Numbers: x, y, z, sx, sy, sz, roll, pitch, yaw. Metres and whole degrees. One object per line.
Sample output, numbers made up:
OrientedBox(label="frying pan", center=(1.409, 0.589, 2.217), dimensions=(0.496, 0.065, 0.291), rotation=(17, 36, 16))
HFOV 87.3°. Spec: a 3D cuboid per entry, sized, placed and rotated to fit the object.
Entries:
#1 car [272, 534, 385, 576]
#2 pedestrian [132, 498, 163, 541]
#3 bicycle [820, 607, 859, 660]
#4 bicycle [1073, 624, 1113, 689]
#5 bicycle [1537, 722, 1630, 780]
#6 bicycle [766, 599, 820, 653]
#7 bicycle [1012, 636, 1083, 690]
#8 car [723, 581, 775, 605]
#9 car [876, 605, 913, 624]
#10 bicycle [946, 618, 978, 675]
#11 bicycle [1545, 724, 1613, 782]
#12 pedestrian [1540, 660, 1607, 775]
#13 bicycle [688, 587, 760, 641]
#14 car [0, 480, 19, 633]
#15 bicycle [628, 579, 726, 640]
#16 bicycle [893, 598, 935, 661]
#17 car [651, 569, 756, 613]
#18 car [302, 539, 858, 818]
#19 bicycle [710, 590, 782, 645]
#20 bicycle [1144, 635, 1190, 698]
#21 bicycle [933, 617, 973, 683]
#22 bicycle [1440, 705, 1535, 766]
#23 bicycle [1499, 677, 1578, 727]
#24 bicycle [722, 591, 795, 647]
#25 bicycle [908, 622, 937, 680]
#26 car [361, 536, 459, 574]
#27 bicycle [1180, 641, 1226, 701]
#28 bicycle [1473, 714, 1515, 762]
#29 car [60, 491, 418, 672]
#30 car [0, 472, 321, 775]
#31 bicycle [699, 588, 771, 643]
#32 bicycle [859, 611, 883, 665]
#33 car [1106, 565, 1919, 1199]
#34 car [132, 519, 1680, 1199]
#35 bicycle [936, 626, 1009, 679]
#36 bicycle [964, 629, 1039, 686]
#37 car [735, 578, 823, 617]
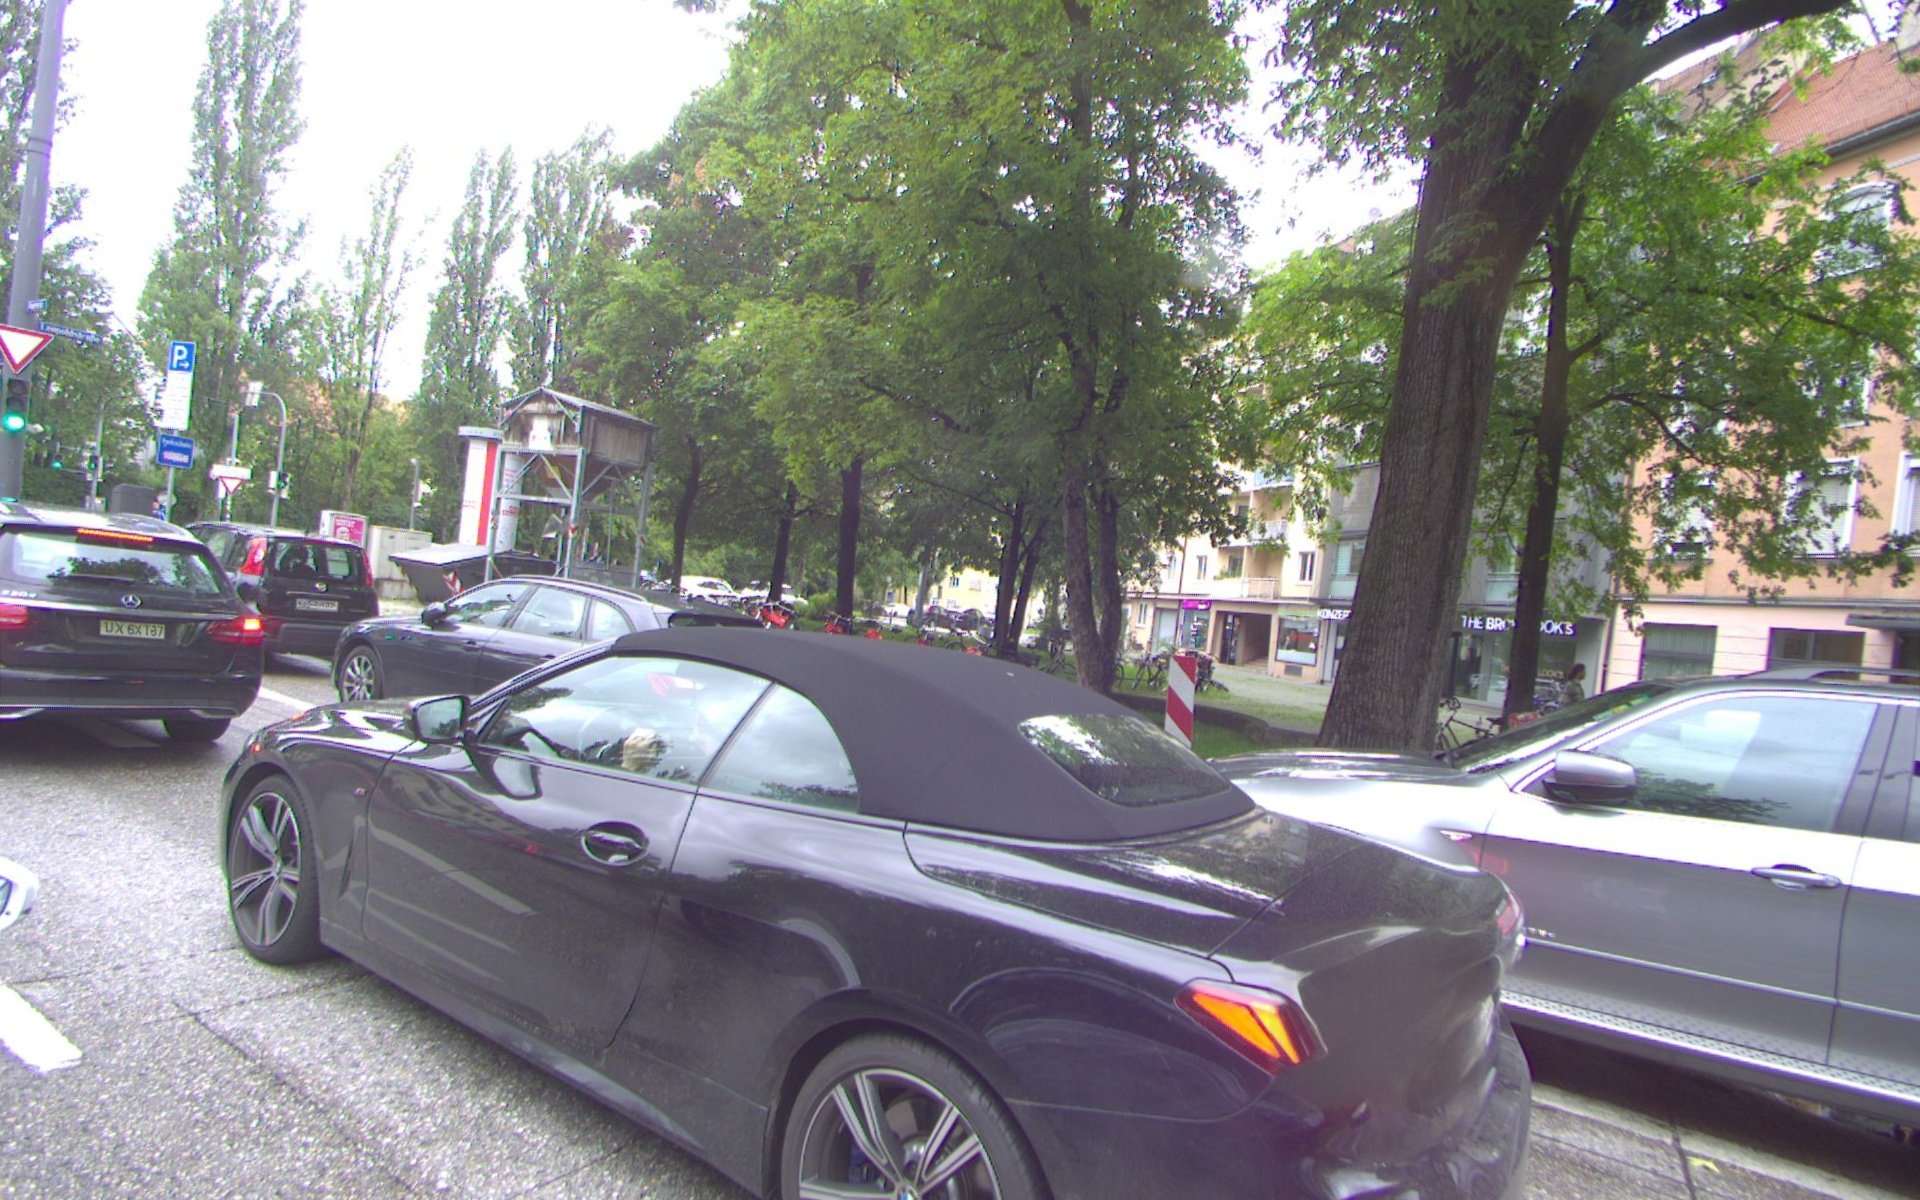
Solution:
OrientedBox(label="car", center=(-31.219, -2.191, 49.852), dimensions=(1.756, 1.504, 4.345), rotation=(7, 0, 30))
OrientedBox(label="pedestrian", center=(-34.417, -3.388, 42.604), dimensions=(0.692, 1.682, 0.550), rotation=(7, -1, -18))
OrientedBox(label="bicycle", center=(-2.202, 0.611, 18.494), dimensions=(0.307, 0.905, 1.413), rotation=(7, 0, 6))
OrientedBox(label="bicycle", center=(3.303, 1.383, 25.186), dimensions=(0.619, 1.374, 2.467), rotation=(7, 2, 2))
OrientedBox(label="bicycle", center=(9.992, 2.413, 16.145), dimensions=(0.316, 0.732, 1.167), rotation=(8, -2, -36))
OrientedBox(label="bicycle", center=(-3.139, 0.510, 18.995), dimensions=(0.307, 0.904, 1.414), rotation=(7, -2, 17))
OrientedBox(label="bicycle", center=(1.752, 1.260, 20.306), dimensions=(1.391, 0.904, 0.312), rotation=(6, -1, 38))
OrientedBox(label="car", center=(-16.725, -0.556, 80.029), dimensions=(1.755, 1.504, 4.134), rotation=(7, 0, 27))
OrientedBox(label="car", center=(-6.563, 1.448, 101.069), dimensions=(1.755, 1.504, 4.134), rotation=(7, 0, 27))
OrientedBox(label="bicycle", center=(0.026, 0.780, 17.089), dimensions=(0.308, 0.904, 1.412), rotation=(7, -2, -5))
OrientedBox(label="bicycle", center=(8.951, 2.213, 14.532), dimensions=(1.167, 0.732, 0.316), rotation=(8, -2, -33))
OrientedBox(label="pedestrian", center=(10.891, 2.081, 17.868), dimensions=(0.622, 1.924, 0.626), rotation=(7, -1, -31))
OrientedBox(label="bicycle", center=(-4.630, 0.293, 19.829), dimensions=(0.308, 0.904, 1.408), rotation=(6, -2, 38))
OrientedBox(label="car", center=(-11.548, -0.664, 10.363), dimensions=(3.936, 1.504, 1.782), rotation=(6, 0, 34))
OrientedBox(label="bicycle", center=(-5.744, 0.217, 20.599), dimensions=(0.619, 1.028, 2.241), rotation=(7, -2, 21))
OrientedBox(label="bicycle", center=(-1.089, 0.677, 24.334), dimensions=(0.619, 1.374, 2.468), rotation=(7, 1, 3))
OrientedBox(label="car", center=(-10.725, -0.343, 42.349), dimensions=(1.700, 1.424, 4.370), rotation=(7, 0, 27))
OrientedBox(label="car", center=(-3.290, 0.501, 8.429), dimensions=(4.563, 1.479, 1.770), rotation=(7, 0, 30))
OrientedBox(label="bicycle", center=(-4.112, 0.343, 19.396), dimensions=(0.308, 0.904, 1.408), rotation=(6, -2, 38))
OrientedBox(label="bicycle", center=(5.350, 1.688, 26.141), dimensions=(0.619, 1.374, 2.467), rotation=(7, 2, 2))
OrientedBox(label="bicycle", center=(-0.143, 1.146, 23.129), dimensions=(0.619, 1.372, 2.471), rotation=(7, -2, 3))
OrientedBox(label="bicycle", center=(7.918, 2.026, 15.121), dimensions=(1.163, 0.732, 0.317), rotation=(6, -2, 43))
OrientedBox(label="bicycle", center=(18.271, 3.210, 31.833), dimensions=(0.500, 1.304, 2.238), rotation=(7, -2, -22))
OrientedBox(label="bicycle", center=(-3.828, 0.373, 19.197), dimensions=(0.308, 0.904, 1.408), rotation=(6, -2, 38))
OrientedBox(label="bicycle", center=(-0.640, 0.849, 16.994), dimensions=(0.308, 0.904, 1.412), rotation=(7, -2, -5))
OrientedBox(label="car", center=(-29.554, -2.393, 54.160), dimensions=(1.756, 1.504, 4.251), rotation=(7, 0, 30))
OrientedBox(label="bicycle", center=(6.732, 1.941, 27.953), dimensions=(0.619, 1.374, 2.467), rotation=(7, 2, 2))
OrientedBox(label="bicycle", center=(8.866, 2.288, 16.695), dimensions=(0.314, 0.732, 1.174), rotation=(6, -2, 40))
OrientedBox(label="car", center=(-8.610, -0.257, 11.897), dimensions=(4.480, 1.568, 1.832), rotation=(7, 0, 33))
OrientedBox(label="car", center=(-6.631, -0.046, 6.900), dimensions=(4.626, 1.567, 1.867), rotation=(7, -2, 32))
OrientedBox(label="bicycle", center=(-4.367, 0.319, 19.613), dimensions=(0.308, 0.904, 1.408), rotation=(6, -2, 38))
OrientedBox(label="bicycle", center=(-1.624, 0.688, 18.232), dimensions=(0.308, 0.904, 1.412), rotation=(7, -2, -5))
OrientedBox(label="car", center=(3.154, 1.063, 4.262), dimensions=(4.475, 1.842, 1.935), rotation=(7, 0, 27))
OrientedBox(label="car", center=(-0.667, 0.693, 3.338), dimensions=(4.719, 1.406, 1.726), rotation=(7, 0, 32))
OrientedBox(label="bicycle", center=(0.255, 1.064, 20.293), dimensions=(1.395, 0.904, 0.311), rotation=(8, -1, -25))
OrientedBox(label="bicycle", center=(0.777, 1.085, 19.109), dimensions=(1.391, 0.904, 0.312), rotation=(6, -1, 38))
OrientedBox(label="car", center=(-8.432, -0.088, 47.267), dimensions=(1.700, 1.424, 4.370), rotation=(7, 0, 27))
